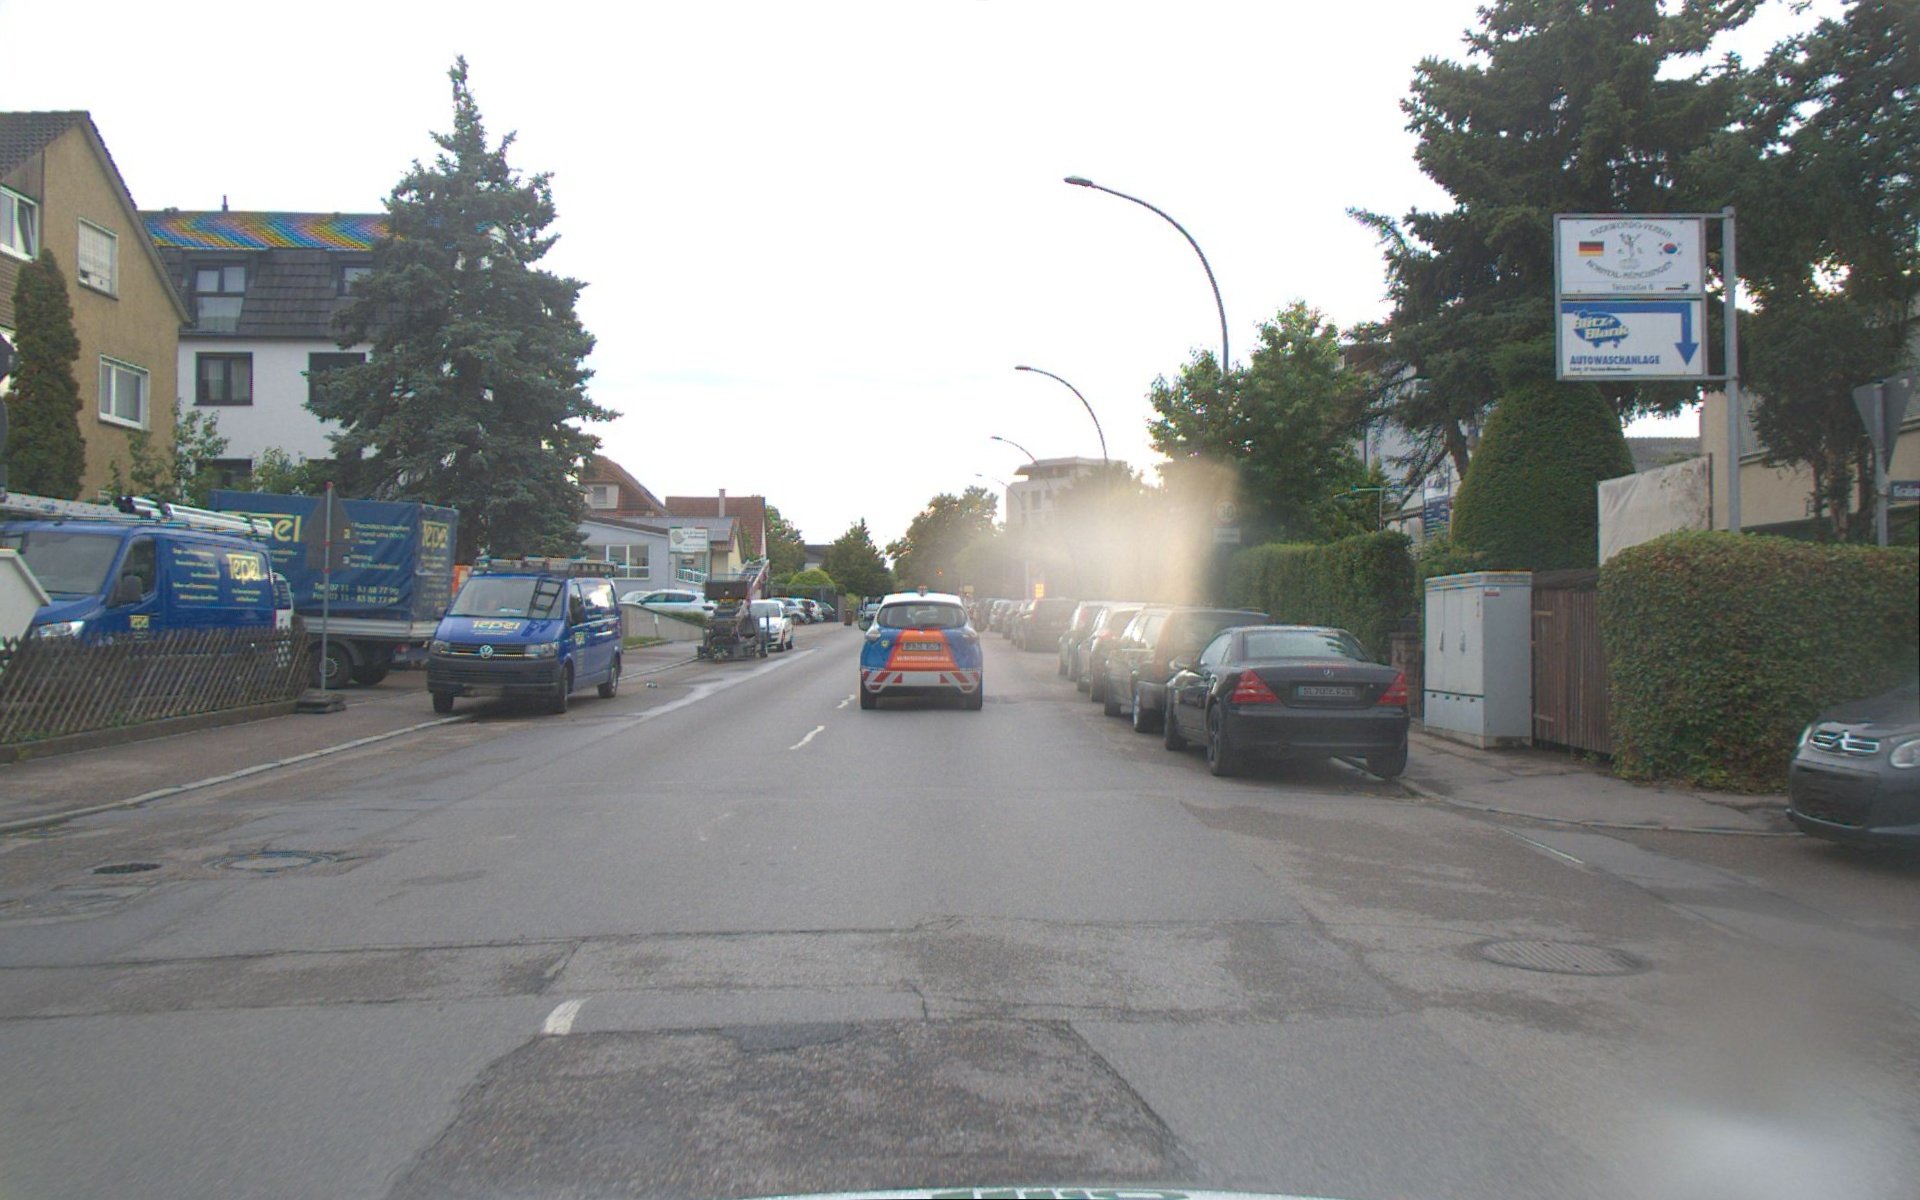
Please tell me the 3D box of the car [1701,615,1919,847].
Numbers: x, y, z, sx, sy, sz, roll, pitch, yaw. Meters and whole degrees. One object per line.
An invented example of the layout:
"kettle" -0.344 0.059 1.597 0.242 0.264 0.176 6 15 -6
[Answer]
"car" 7.025 0.790 10.342 3.907 1.288 1.950 1 -1 -2

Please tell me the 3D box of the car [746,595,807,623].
"car" -11.430 0.557 103.201 3.686 1.604 1.653 1 -1 -5

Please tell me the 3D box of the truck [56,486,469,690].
"truck" -11.565 -0.186 27.782 5.790 3.127 2.449 1 -1 0

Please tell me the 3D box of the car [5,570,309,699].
"car" -11.980 0.505 24.844 3.633 1.780 1.778 1 -1 1

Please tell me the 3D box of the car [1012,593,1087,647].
"car" 2.532 0.563 47.594 1.677 1.464 4.523 1 0 -3

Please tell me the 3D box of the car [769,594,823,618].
"car" -11.041 0.393 111.459 3.582 1.509 1.478 -1 0 -5

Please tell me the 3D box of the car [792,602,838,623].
"car" -10.465 0.911 119.485 3.217 1.473 1.478 -1 0 -5

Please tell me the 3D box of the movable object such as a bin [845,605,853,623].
"movable object such as a bin" -7.625 0.946 113.555 0.568 1.225 0.318 1 0 -1

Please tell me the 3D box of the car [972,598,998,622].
"car" 1.765 0.711 117.934 1.617 1.701 3.998 1 0 -2

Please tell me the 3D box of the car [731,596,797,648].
"car" -5.865 0.644 49.889 1.525 1.458 3.999 1 0 0

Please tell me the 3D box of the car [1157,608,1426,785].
"car" 2.995 0.810 15.746 1.558 1.364 4.091 3 0 -2

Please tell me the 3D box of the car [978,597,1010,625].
"car" 1.938 0.641 96.165 1.617 1.548 3.998 1 0 -2

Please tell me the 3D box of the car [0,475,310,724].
"car" -10.364 0.005 20.581 2.033 2.612 6.201 1 0 0

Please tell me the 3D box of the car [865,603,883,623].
"car" -6.696 0.996 128.436 1.358 1.509 3.782 0 0 -2

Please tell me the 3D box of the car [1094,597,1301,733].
"car" 2.785 0.726 20.395 1.623 1.444 4.774 1 0 -3

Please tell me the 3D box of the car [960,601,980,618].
"car" 0.861 0.843 149.856 1.617 1.509 3.998 1 0 -2

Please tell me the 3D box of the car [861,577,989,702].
"car" -0.497 0.540 23.672 1.696 1.659 3.493 0 0 -1

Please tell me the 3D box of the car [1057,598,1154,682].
"car" 2.740 0.722 31.833 1.456 1.464 3.806 1 0 -1

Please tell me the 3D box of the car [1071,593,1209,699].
"car" 2.713 0.649 25.657 1.624 1.474 3.828 1 0 -1

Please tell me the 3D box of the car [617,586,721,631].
"car" -11.107 0.324 63.319 3.684 1.595 1.654 1 -1 -2

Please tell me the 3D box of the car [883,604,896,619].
"car" -6.253 1.008 146.805 1.128 1.254 3.371 0 0 -2

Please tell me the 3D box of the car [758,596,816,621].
"car" -11.243 0.558 107.567 3.686 1.509 1.653 1 -1 -5

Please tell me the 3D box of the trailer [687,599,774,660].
"trailer" -5.834 0.705 42.543 1.683 1.282 5.242 1 2 -2

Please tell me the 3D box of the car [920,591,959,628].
"car" -0.924 0.408 73.446 1.617 1.548 3.998 1 0 -2

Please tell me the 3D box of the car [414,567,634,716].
"car" -6.354 0.541 24.791 1.953 1.981 5.364 0 0 -1
